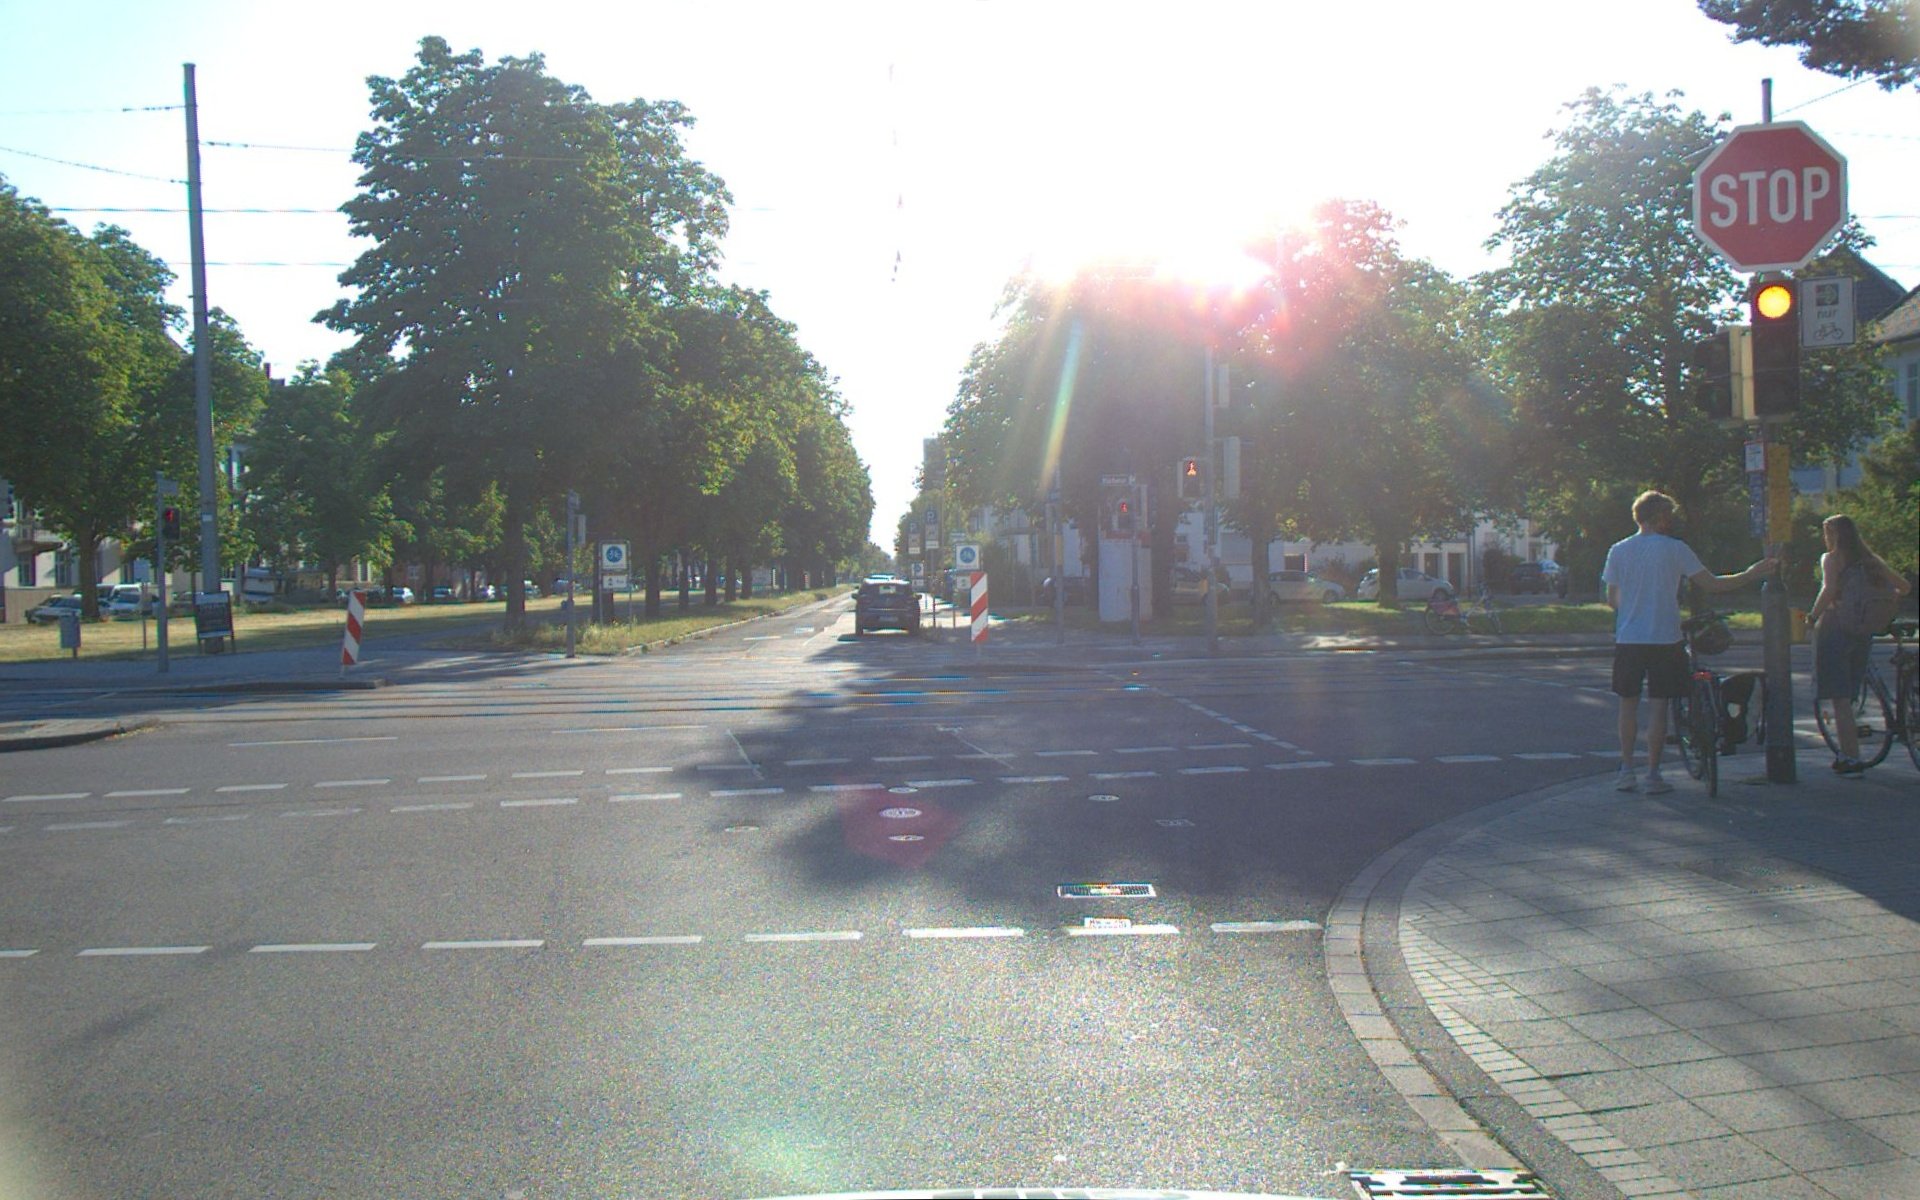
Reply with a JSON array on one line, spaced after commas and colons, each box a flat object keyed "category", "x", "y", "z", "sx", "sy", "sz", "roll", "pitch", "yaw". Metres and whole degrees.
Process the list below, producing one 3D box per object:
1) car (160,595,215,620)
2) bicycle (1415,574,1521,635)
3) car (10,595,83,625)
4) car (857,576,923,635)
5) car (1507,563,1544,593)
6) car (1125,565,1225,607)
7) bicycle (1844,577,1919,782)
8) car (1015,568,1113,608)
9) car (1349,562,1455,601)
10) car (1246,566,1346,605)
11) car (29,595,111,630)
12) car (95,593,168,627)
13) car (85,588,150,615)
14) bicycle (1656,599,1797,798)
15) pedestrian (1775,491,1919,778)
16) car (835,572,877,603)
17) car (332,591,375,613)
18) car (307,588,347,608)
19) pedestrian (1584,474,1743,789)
[{"category": "car", "x": -47.407, "y": 0.462, "z": 101.588, "sx": 1.703, "sy": 1.452, "sz": 3.791, "roll": -1, "pitch": 1, "yaw": -2}, {"category": "bicycle", "x": 10.118, "y": 0.083, "z": 32.993, "sx": 1.914, "sy": 1.152, "sz": 0.620, "roll": -1, "pitch": 0, "yaw": 0}, {"category": "car", "x": -47.029, "y": 0.506, "z": 85.231, "sx": 1.703, "sy": 1.452, "sz": 3.791, "roll": -1, "pitch": 1, "yaw": -2}, {"category": "car", "x": -1.819, "y": 0.119, "z": 43.838, "sx": 1.607, "sy": 1.476, "sz": 3.307, "roll": -1, "pitch": 1, "yaw": 0}, {"category": "car", "x": 28.893, "y": -1.141, "z": 84.468, "sx": 1.629, "sy": 1.442, "sz": 3.543, "roll": -1, "pitch": 1, "yaw": 21}, {"category": "car", "x": 8.481, "y": -0.580, "z": 65.433, "sx": 3.704, "sy": 1.552, "sz": 1.743, "roll": -1, "pitch": 2, "yaw": -3}, {"category": "bicycle", "x": 6.057, "y": 0.458, "z": 10.433, "sx": 0.476, "sy": 1.162, "sz": 1.599, "roll": -3, "pitch": 1, "yaw": 16}, {"category": "car", "x": 4.068, "y": -0.488, "z": 65.039, "sx": 3.704, "sy": 1.452, "sz": 1.743, "roll": -1, "pitch": 2, "yaw": -3}, {"category": "car", "x": 17.691, "y": -0.739, "z": 66.292, "sx": 3.772, "sy": 1.452, "sz": 1.595, "roll": -1, "pitch": 1, "yaw": -7}, {"category": "car", "x": 13.285, "y": -0.584, "z": 65.452, "sx": 3.593, "sy": 1.452, "sz": 1.529, "roll": -1, "pitch": 1, "yaw": -7}, {"category": "car", "x": -40.049, "y": 0.528, "z": 74.535, "sx": 1.703, "sy": 1.452, "sz": 3.791, "roll": -1, "pitch": 1, "yaw": -2}, {"category": "car", "x": -40.396, "y": 0.459, "z": 80.741, "sx": 1.703, "sy": 1.452, "sz": 3.792, "roll": -1, "pitch": 2, "yaw": -2}, {"category": "car", "x": -46.505, "y": 0.072, "z": 91.329, "sx": 1.703, "sy": 1.452, "sz": 3.791, "roll": -1, "pitch": 1, "yaw": -2}, {"category": "bicycle", "x": 4.836, "y": 0.580, "z": 10.519, "sx": 0.476, "sy": 1.116, "sz": 1.792, "roll": -3, "pitch": 0, "yaw": 16}, {"category": "pedestrian", "x": 5.669, "y": 0.208, "z": 10.539, "sx": 0.655, "sy": 1.737, "sz": 0.623, "roll": -4, "pitch": 1, "yaw": 17}, {"category": "car", "x": -4.861, "y": -0.622, "z": 77.723, "sx": 1.808, "sy": 1.418, "sz": 3.828, "roll": 0, "pitch": 1, "yaw": -2}, {"category": "car", "x": -42.313, "y": 0.104, "z": 115.496, "sx": 1.703, "sy": 1.452, "sz": 3.791, "roll": -1, "pitch": 1, "yaw": -2}, {"category": "car", "x": -48.078, "y": -0.159, "z": 125.655, "sx": 1.703, "sy": 1.452, "sz": 3.791, "roll": -1, "pitch": 1, "yaw": -2}, {"category": "pedestrian", "x": 4.528, "y": 0.203, "z": 10.710, "sx": 0.656, "sy": 1.897, "sz": 0.882, "roll": -6, "pitch": -2, "yaw": 16}]
